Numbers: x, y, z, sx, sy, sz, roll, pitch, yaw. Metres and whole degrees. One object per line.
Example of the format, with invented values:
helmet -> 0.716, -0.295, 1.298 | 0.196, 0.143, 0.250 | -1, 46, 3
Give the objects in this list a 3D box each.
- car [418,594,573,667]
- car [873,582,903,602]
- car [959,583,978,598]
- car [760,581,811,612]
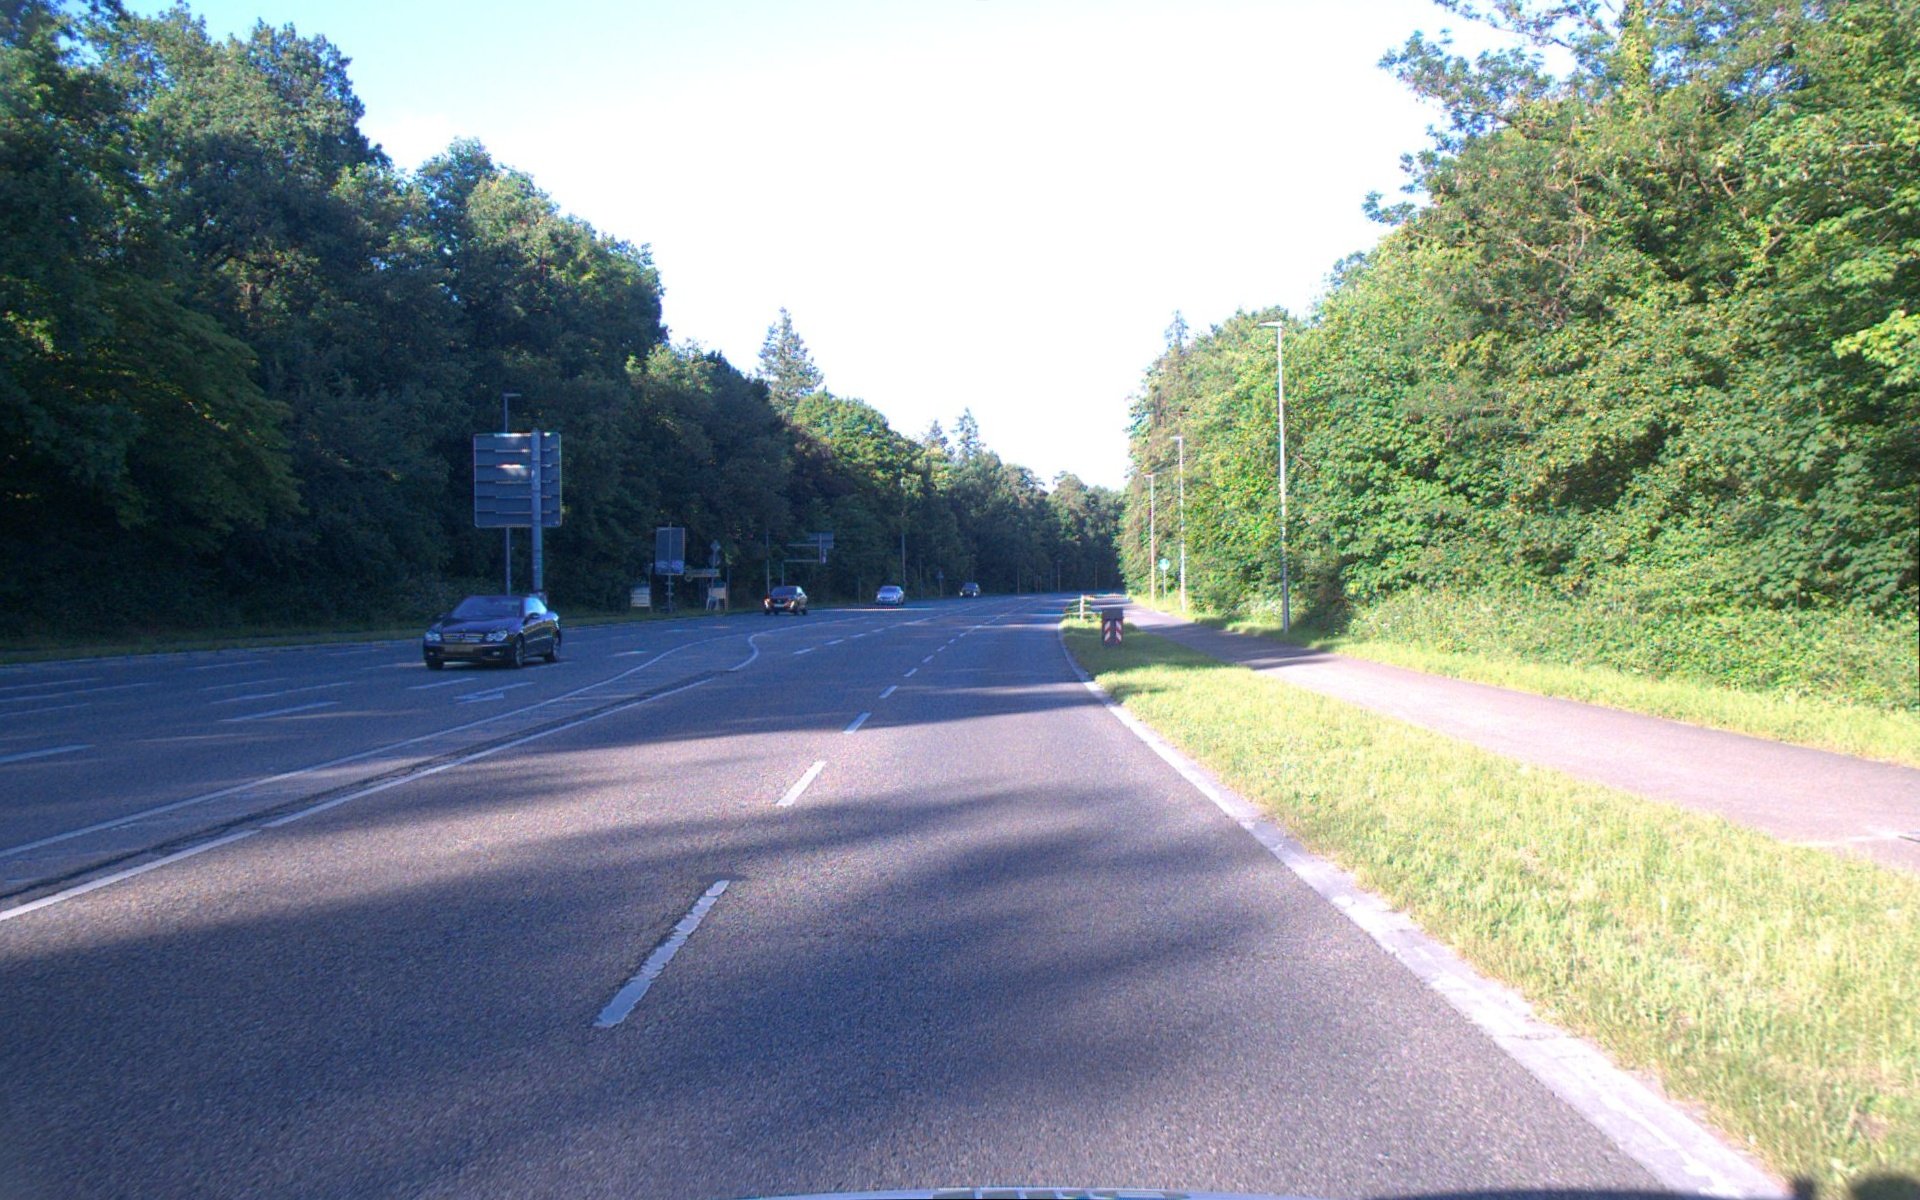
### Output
car -> -8.871, 0.537, 31.979 | 1.708, 1.256, 4.673 | -1, 1, -1
car -> -5.526, -0.601, 127.404 | 1.786, 1.530, 4.309 | 0, 0, 4
car -> 0.896, -1.058, 181.425 | 1.786, 1.617, 4.354 | 0, 0, 4
car -> -9.030, -0.185, 86.033 | 1.786, 1.571, 4.259 | 0, 0, 6
